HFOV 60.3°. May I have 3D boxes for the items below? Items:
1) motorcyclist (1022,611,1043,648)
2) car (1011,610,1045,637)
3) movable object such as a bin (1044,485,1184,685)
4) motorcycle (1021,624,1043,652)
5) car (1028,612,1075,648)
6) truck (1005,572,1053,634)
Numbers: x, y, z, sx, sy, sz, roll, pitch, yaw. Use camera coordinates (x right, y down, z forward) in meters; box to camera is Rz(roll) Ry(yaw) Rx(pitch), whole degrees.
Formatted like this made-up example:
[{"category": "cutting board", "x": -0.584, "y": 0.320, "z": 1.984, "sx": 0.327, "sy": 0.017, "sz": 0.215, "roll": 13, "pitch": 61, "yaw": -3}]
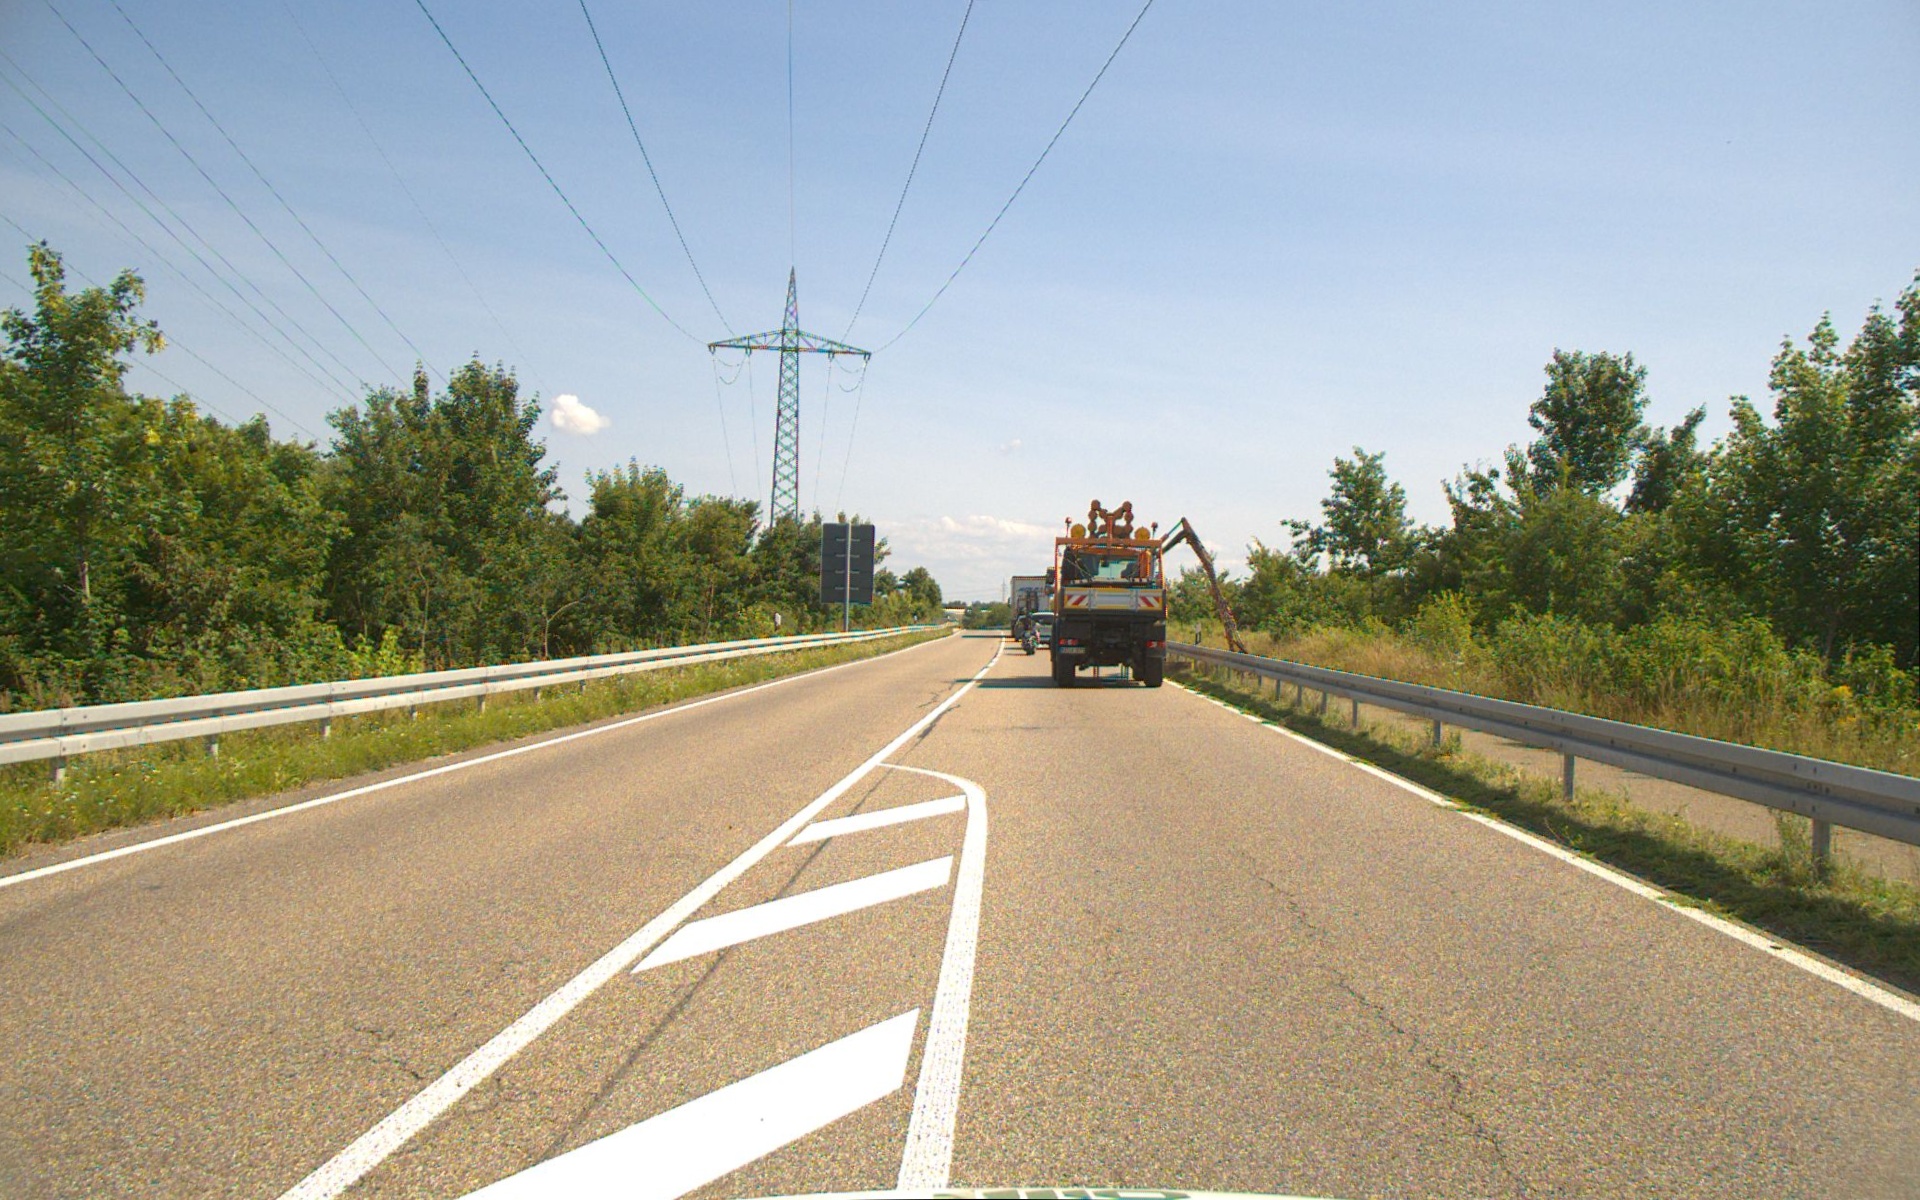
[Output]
[{"category": "motorcyclist", "x": 2.656, "y": 1.073, "z": 60.802, "sx": 0.764, "sy": 1.349, "sz": 0.813, "roll": 1, "pitch": 0, "yaw": 2}, {"category": "car", "x": 3.745, "y": 1.288, "z": 91.506, "sx": 1.827, "sy": 1.445, "sz": 4.001, "roll": 1, "pitch": 0, "yaw": 2}, {"category": "movable object such as a bin", "x": 3.272, "y": -0.293, "z": 37.296, "sx": 2.696, "sy": 3.907, "sz": 9.448, "roll": 1, "pitch": 0, "yaw": 3}, {"category": "motorcycle", "x": 2.641, "y": 1.383, "z": 60.780, "sx": 0.764, "sy": 0.993, "sz": 2.362, "roll": 1, "pitch": 0, "yaw": 3}, {"category": "car", "x": 3.990, "y": 1.278, "z": 71.616, "sx": 1.787, "sy": 1.477, "sz": 4.003, "roll": 1, "pitch": 0, "yaw": 7}, {"category": "truck", "x": 4.816, "y": 0.273, "z": 114.914, "sx": 3.174, "sy": 4.049, "sz": 9.446, "roll": 1, "pitch": -1, "yaw": 3}]
